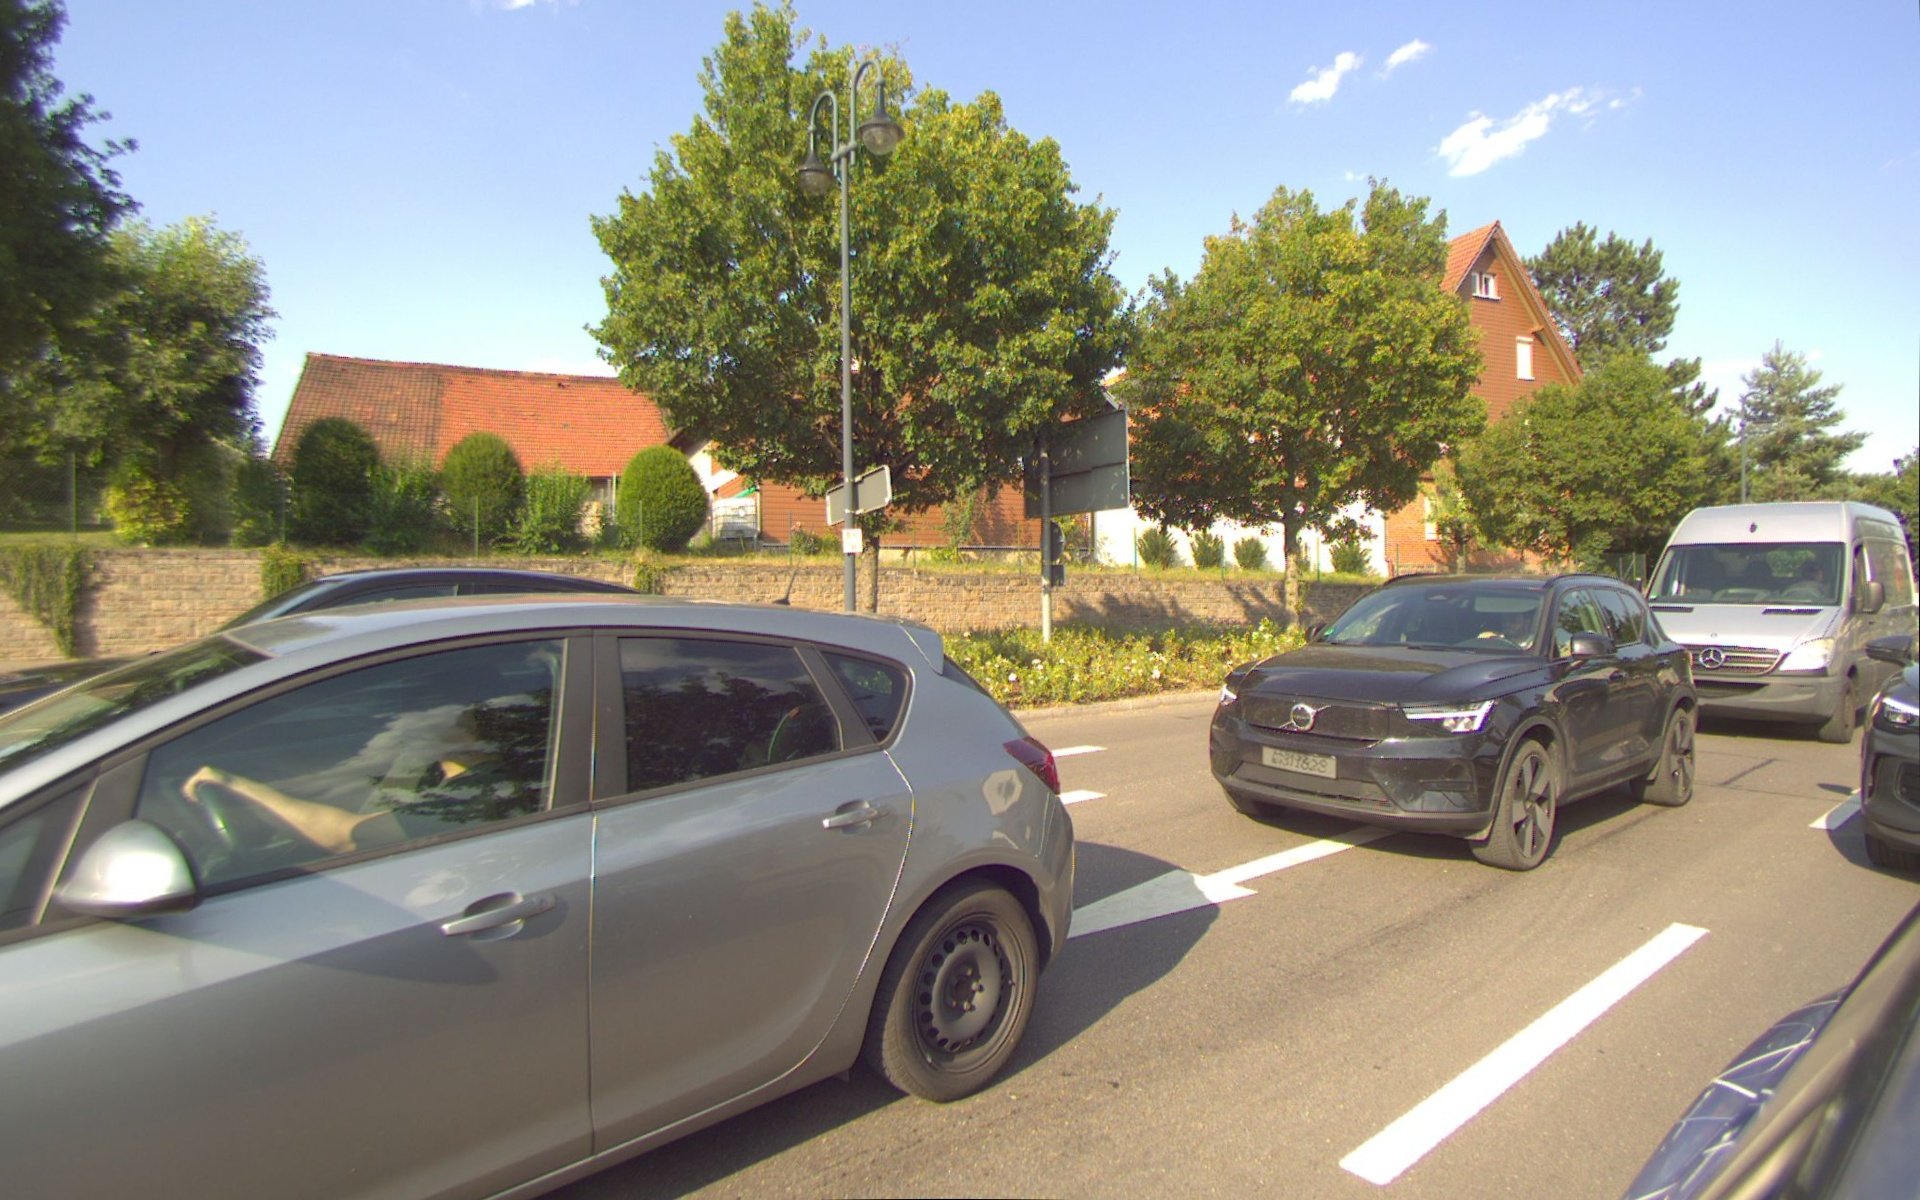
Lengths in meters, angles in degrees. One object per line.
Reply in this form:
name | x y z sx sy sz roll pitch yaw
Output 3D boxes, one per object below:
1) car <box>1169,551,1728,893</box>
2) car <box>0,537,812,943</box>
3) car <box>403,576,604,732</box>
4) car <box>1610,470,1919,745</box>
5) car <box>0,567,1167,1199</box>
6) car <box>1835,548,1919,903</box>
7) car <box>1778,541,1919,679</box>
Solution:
car | 3.502 0.539 6.888 4.242 1.629 1.844 0 2 -40
car | -3.226 0.525 5.736 4.485 1.628 1.765 0 2 -41
car | -5.552 0.506 12.009 1.743 1.510 4.156 0 0 -31
car | 10.070 0.021 12.256 5.938 2.601 1.992 0 2 -40
car | -1.463 0.666 2.697 4.244 1.471 1.765 -1 2 -42
car | 6.441 0.582 5.530 4.242 1.629 1.844 0 2 -40
car | 15.407 0.114 16.955 4.242 2.055 1.844 0 2 -40
